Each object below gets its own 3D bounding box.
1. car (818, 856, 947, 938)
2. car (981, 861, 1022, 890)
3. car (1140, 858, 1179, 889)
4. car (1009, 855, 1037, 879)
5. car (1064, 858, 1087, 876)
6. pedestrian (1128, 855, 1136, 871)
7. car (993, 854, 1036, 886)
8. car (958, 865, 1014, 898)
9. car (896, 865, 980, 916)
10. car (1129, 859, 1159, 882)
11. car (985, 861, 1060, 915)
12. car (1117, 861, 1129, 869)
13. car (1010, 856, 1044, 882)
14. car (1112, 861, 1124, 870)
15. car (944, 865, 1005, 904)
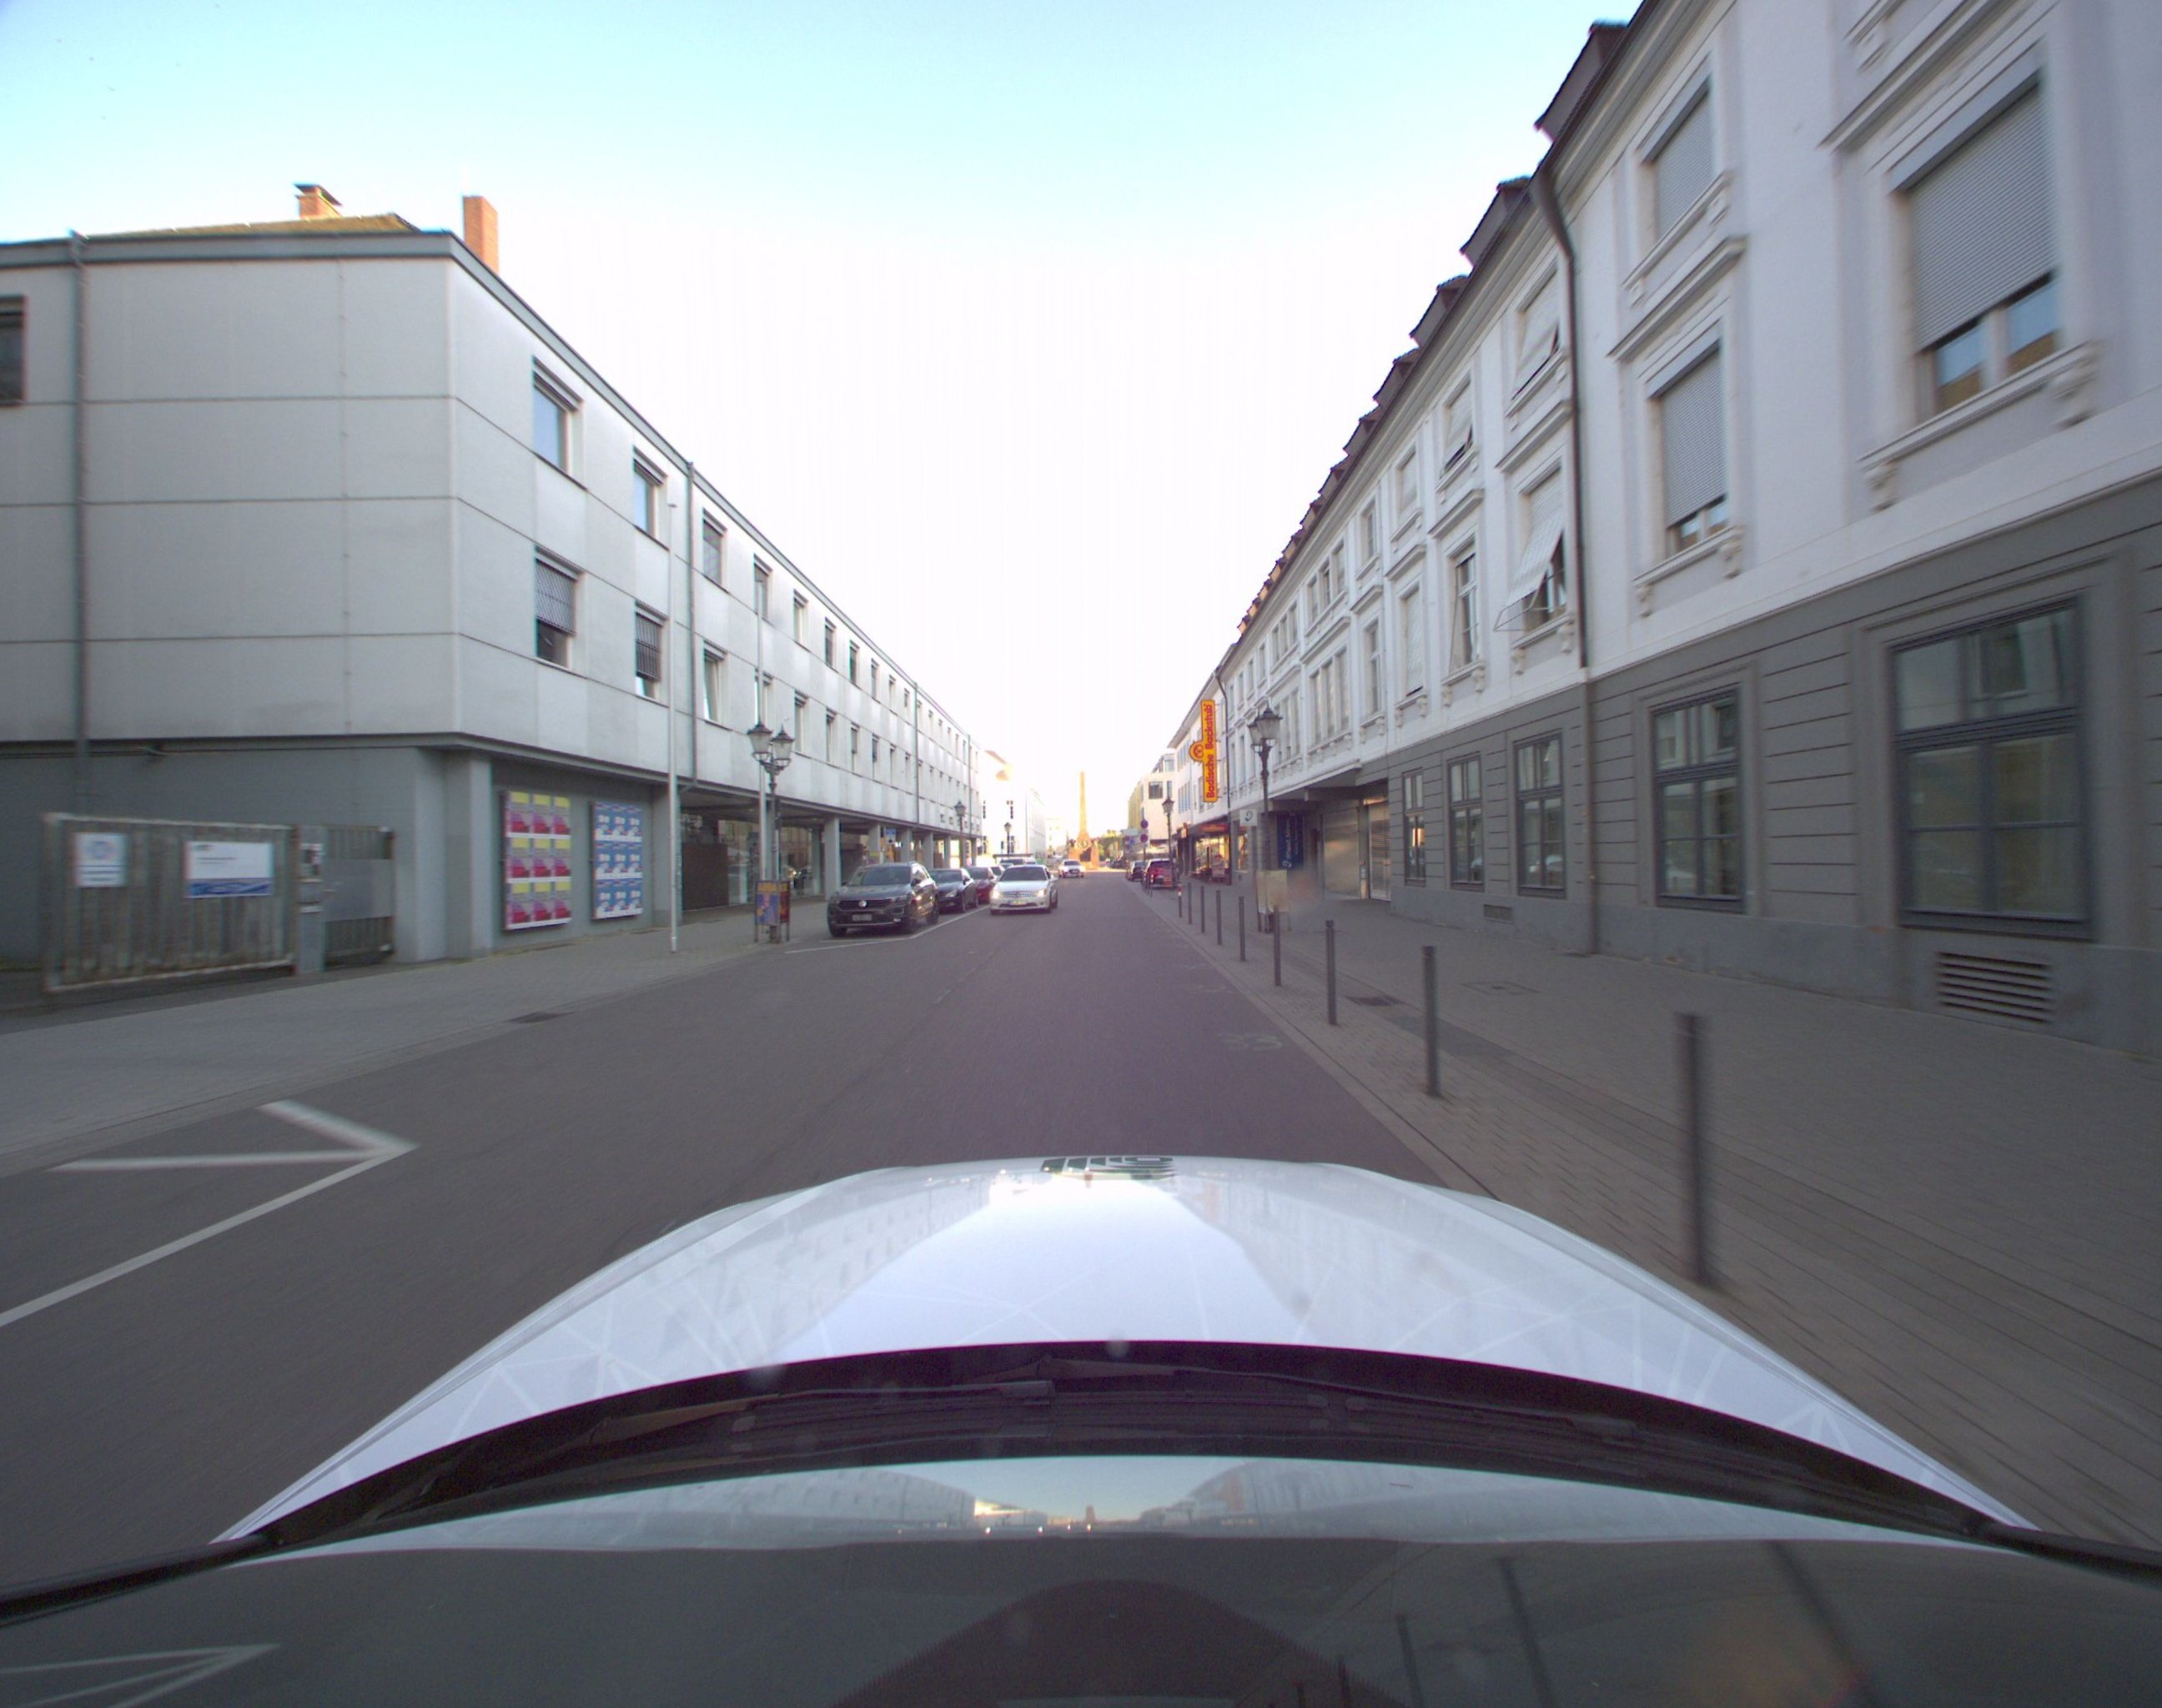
[{"bbox_3d":[-4.421,0.894,18.793,1.778,1.615,4.167,-2,0,2],"label":"car"},{"bbox_3d":[-4.182,1.126,43.280,1.667,1.400,4.000,-2,0,0],"label":"car"},{"bbox_3d":[4.058,1.009,42.712,1.753,1.523,3.678,-1,0,2],"label":"car"},{"bbox_3d":[-4.602,1.013,64.219,1.991,1.816,4.774,-1,0,-6],"label":"car"},{"bbox_3d":[-0.439,1.102,68.225,1.757,1.422,4.001,-1,0,2],"label":"car"},{"bbox_3d":[5.445,0.976,86.988,0.688,1.647,0.695,-2,-1,0],"label":"pedestrian"},{"bbox_3d":[-3.918,0.914,48.893,1.986,1.728,4.517,-3,0,2],"label":"car"},{"bbox_3d":[-4.287,1.239,37.384,1.986,1.354,4.001,-1,0,2],"label":"car"},{"bbox_3d":[-4.441,1.107,25.963,1.778,1.408,4.090,-2,0,2],"label":"car"},{"bbox_3d":[4.336,1.116,56.561,1.795,1.464,4.118,-1,0,2],"label":"car"},{"bbox_3d":[-1.657,0.954,24.491,1.778,1.408,4.090,-2,0,2],"label":"car"},{"bbox_3d":[7.541,1.959,146.674,1.985,1.464,4.003,-2,-1,3],"label":"car"},{"bbox_3d":[-3.687,1.027,56.317,1.986,1.662,4.001,-1,0,2],"label":"car"},{"bbox_3d":[6.273,1.950,138.218,1.985,1.464,4.003,-2,-1,3],"label":"car"},{"bbox_3d":[-4.297,1.195,33.349,1.778,1.408,4.090,-2,0,2],"label":"car"}]
